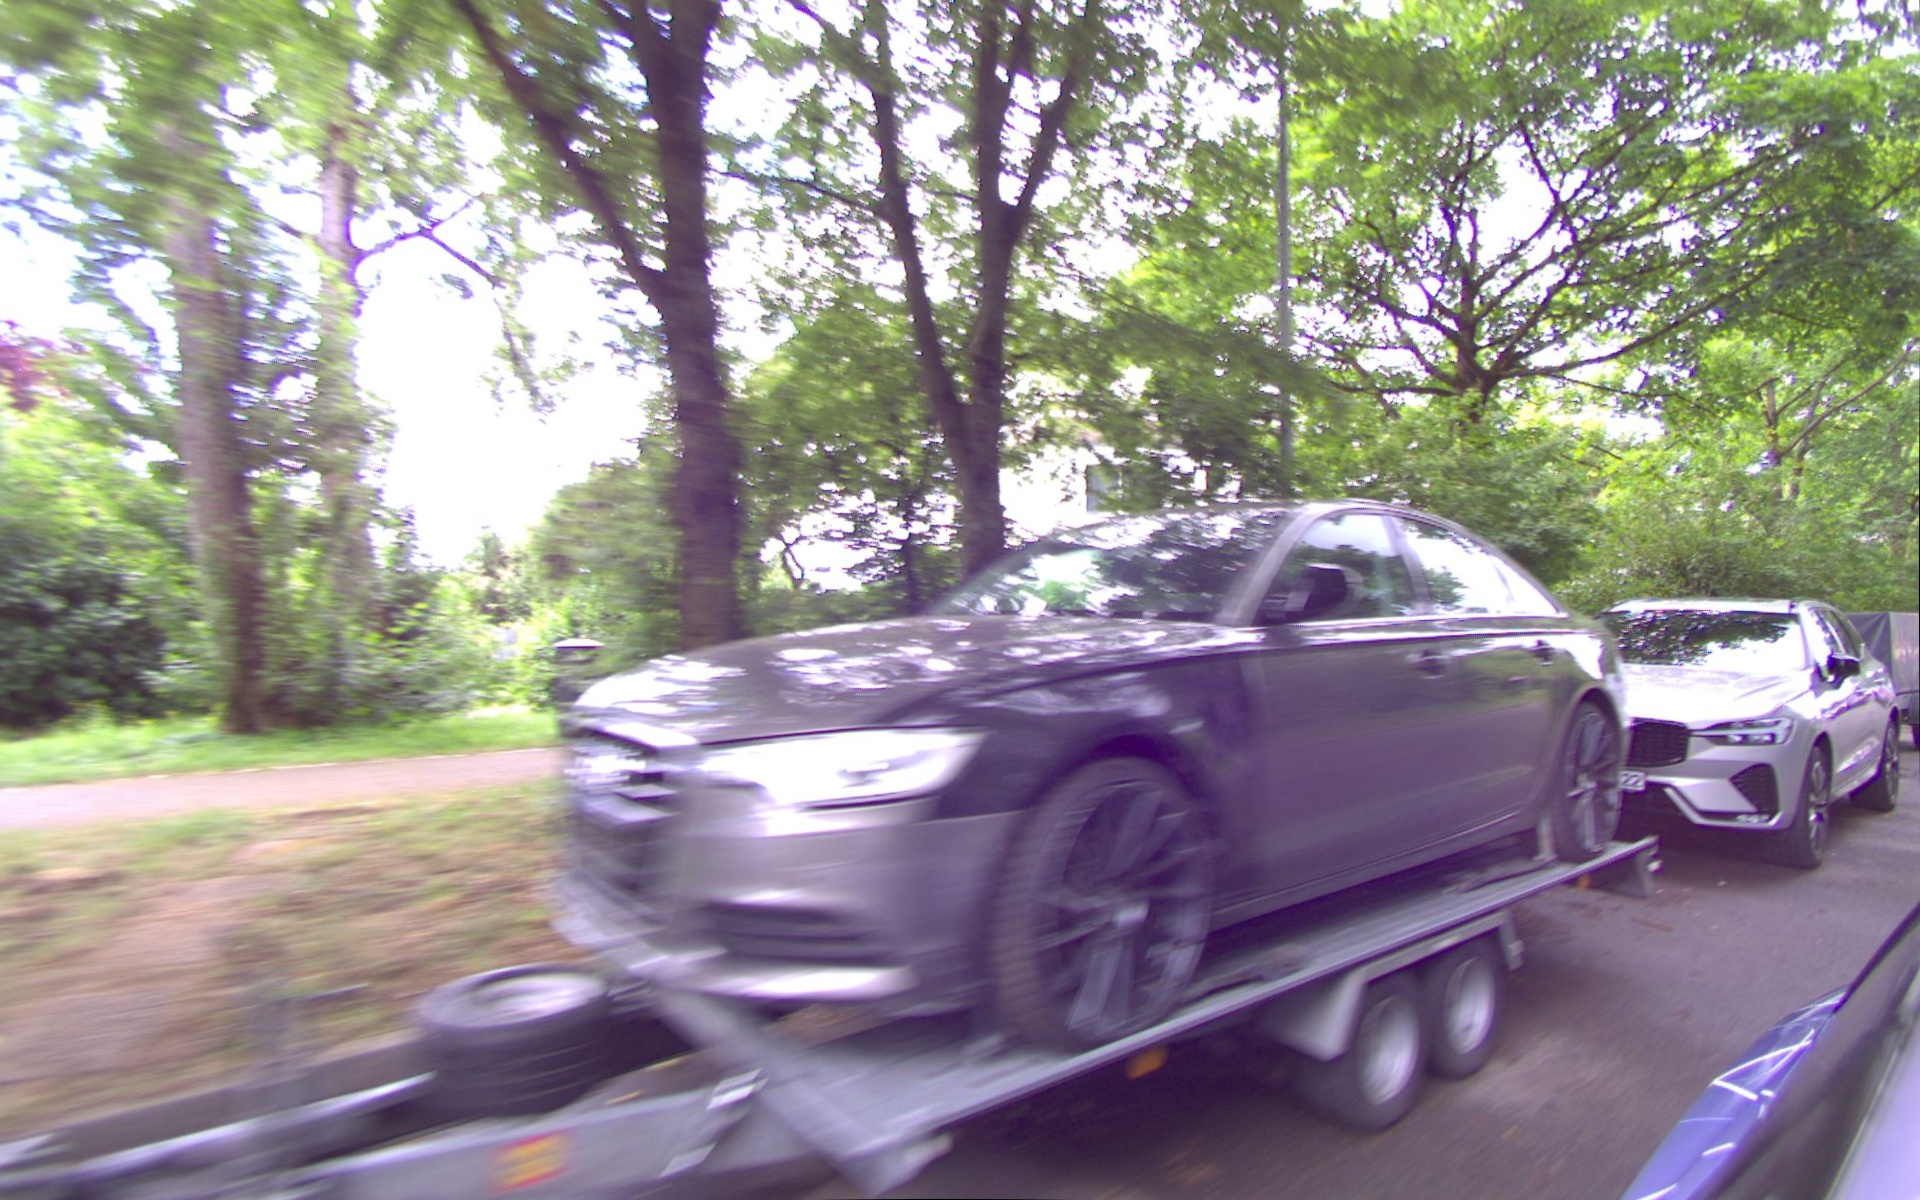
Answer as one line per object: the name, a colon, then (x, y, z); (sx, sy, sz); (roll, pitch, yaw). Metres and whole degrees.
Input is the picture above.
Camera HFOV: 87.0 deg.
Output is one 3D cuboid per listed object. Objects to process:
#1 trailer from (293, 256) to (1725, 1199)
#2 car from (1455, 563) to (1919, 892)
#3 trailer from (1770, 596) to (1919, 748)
trailer: (0.992, 0.515, 3.926); (5.791, 1.957, 1.997); (-1, 0, -41)
car: (5.568, 0.682, 7.459); (4.519, 1.706, 1.844); (1, -1, -41)
trailer: (10.698, 0.790, 11.951); (2.227, 1.625, 1.376); (2, -2, -41)
